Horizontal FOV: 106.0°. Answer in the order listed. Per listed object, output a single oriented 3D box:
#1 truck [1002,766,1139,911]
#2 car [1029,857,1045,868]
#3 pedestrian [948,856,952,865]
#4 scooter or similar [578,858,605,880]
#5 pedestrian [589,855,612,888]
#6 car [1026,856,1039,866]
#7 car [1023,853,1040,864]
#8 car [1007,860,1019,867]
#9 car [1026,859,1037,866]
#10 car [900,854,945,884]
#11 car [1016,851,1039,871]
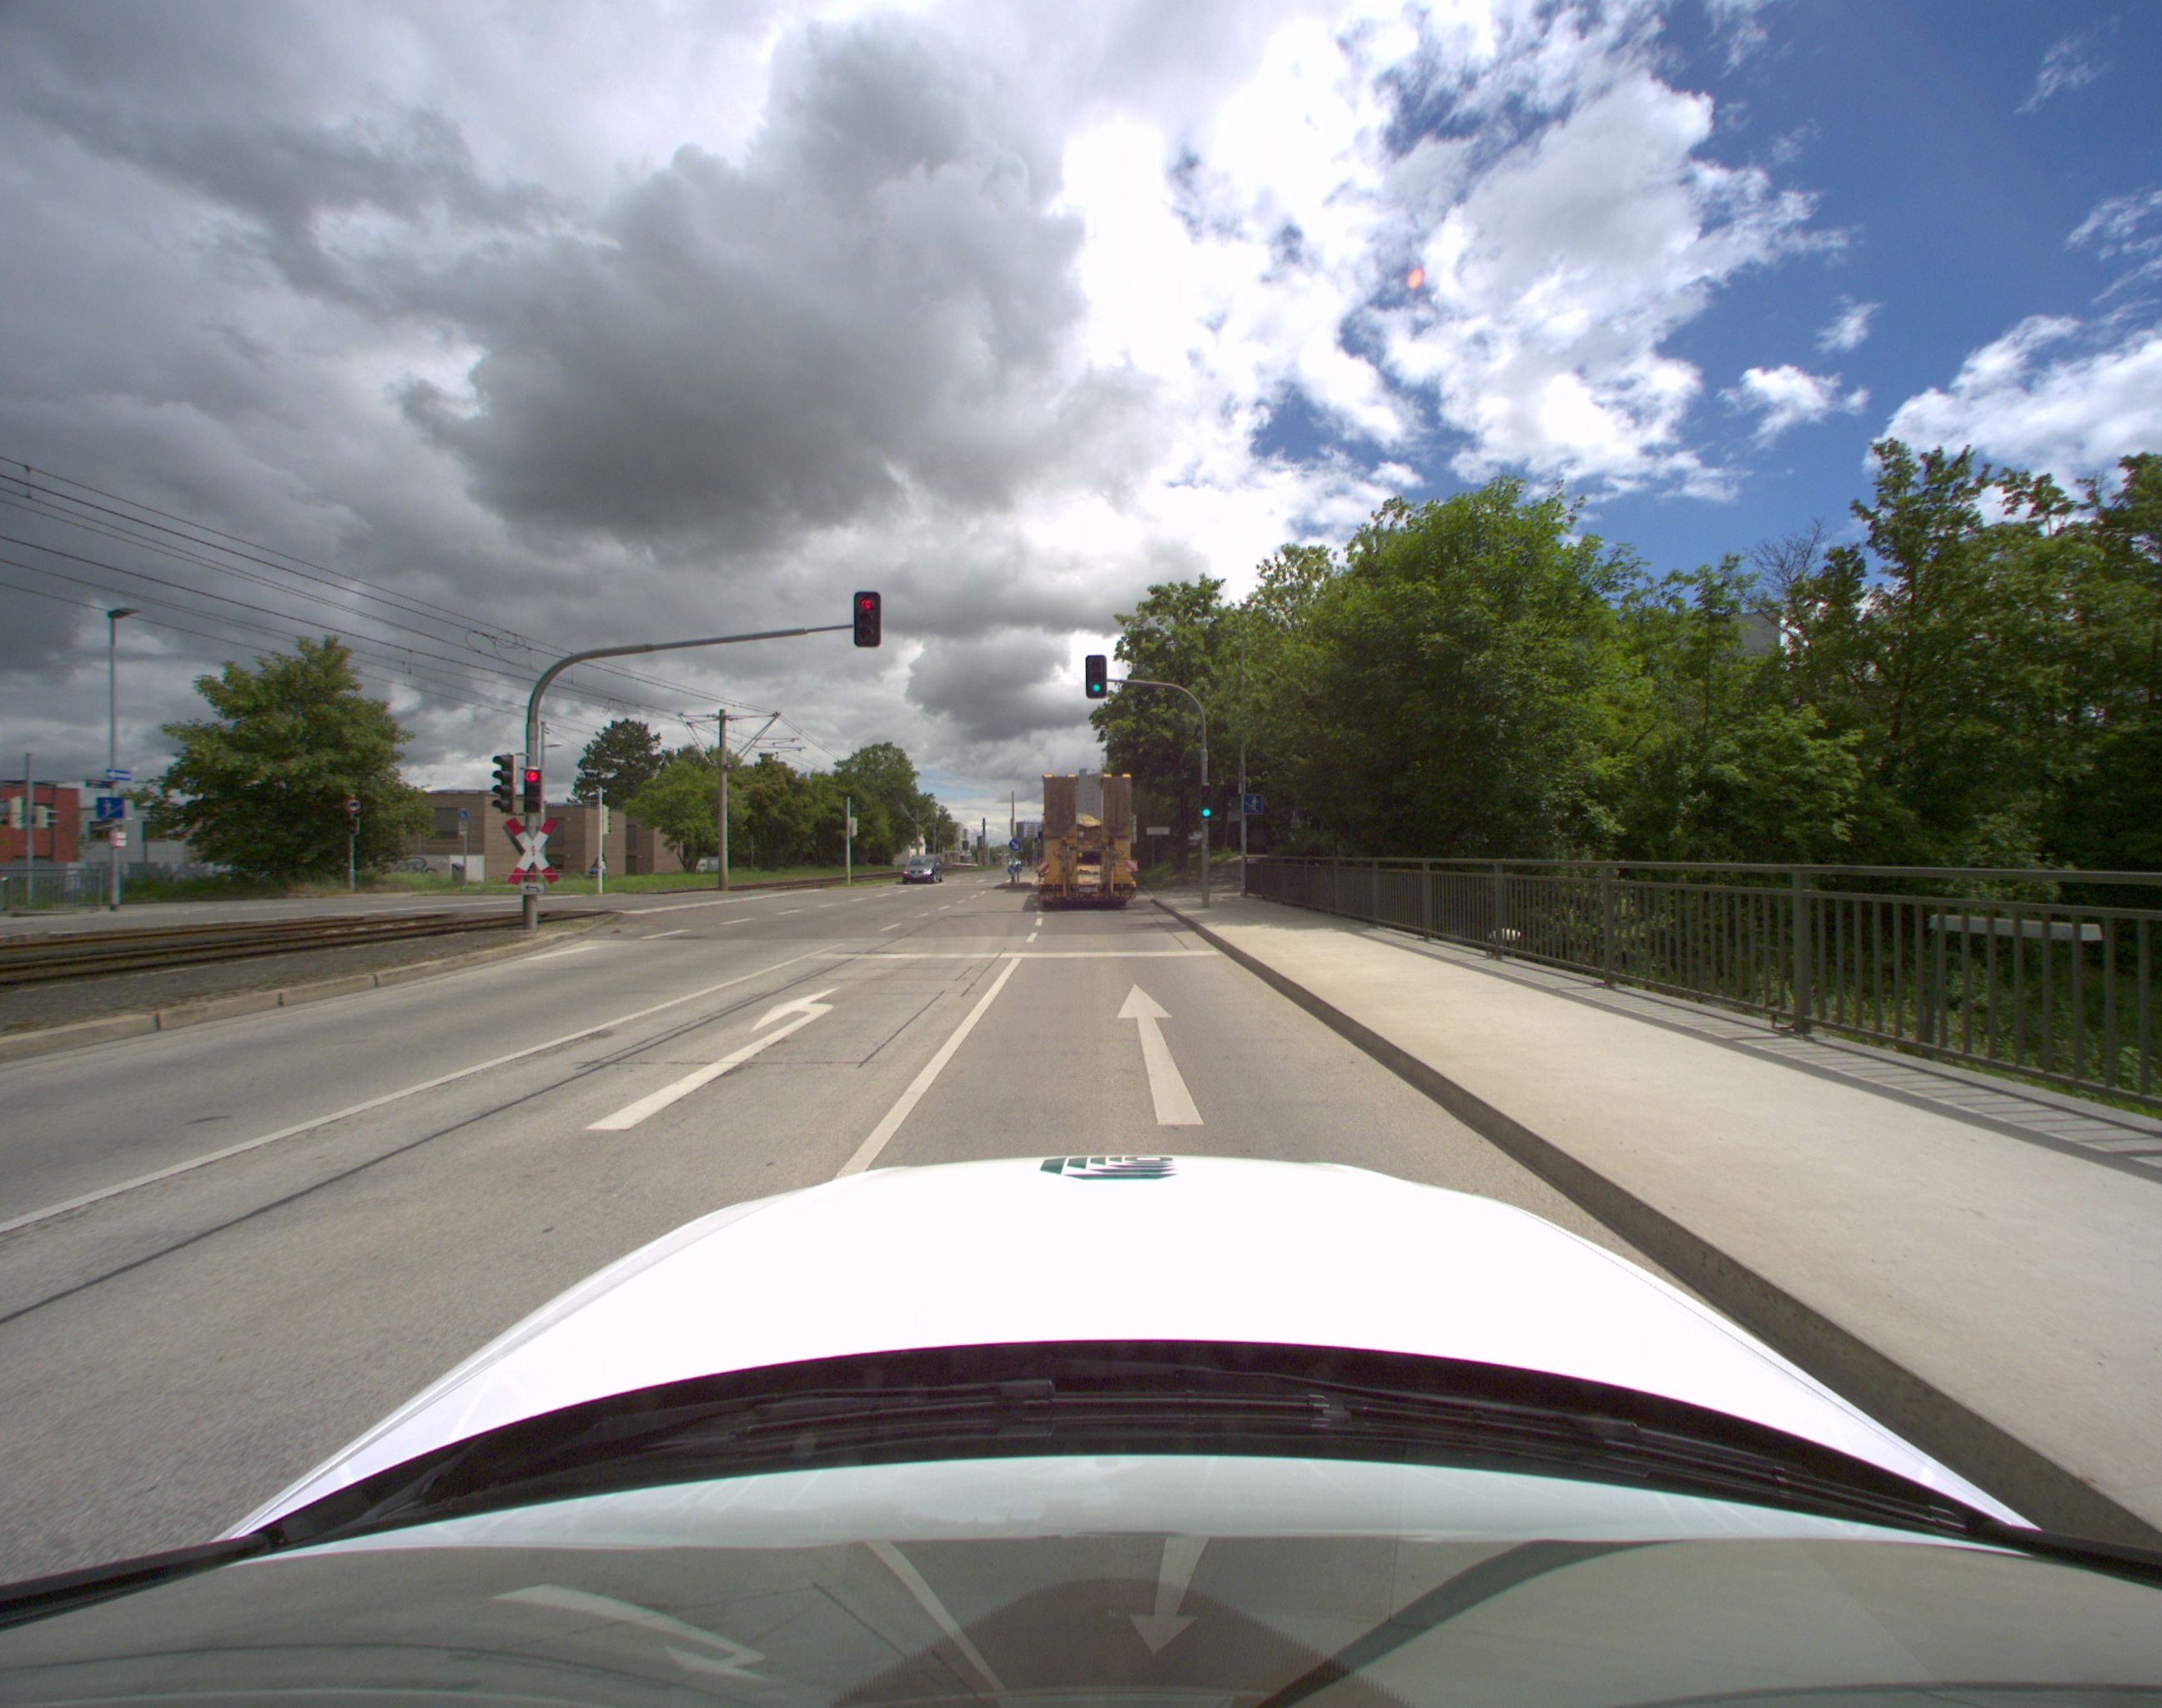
[{"bbox_3d":[0.180,-0.389,27.016,3.301,3.651,12.577,1,0,5],"label":"truck"},{"bbox_3d":[-6.154,1.128,114.017,1.987,1.420,3.999,1,0,-1],"label":"car"},{"bbox_3d":[-29.501,1.361,183.066,0.649,2.013,0.654,1,0,4],"label":"pedestrian"},{"bbox_3d":[-27.529,0.839,45.825,0.887,1.184,0.973,1,0,1],"label":"scooter or similar"},{"bbox_3d":[-27.517,0.996,46.660,0.798,1.811,0.809,1,0,3],"label":"pedestrian"},{"bbox_3d":[-8.243,1.257,138.618,1.987,1.618,3.999,1,0,-1],"label":"car"},{"bbox_3d":[-6.284,0.562,104.022,1.987,1.420,3.999,1,0,-1],"label":"car"},{"bbox_3d":[-12.209,1.677,146.146,1.779,1.271,4.342,-1,0,-1],"label":"car"},{"bbox_3d":[-8.624,1.497,142.867,1.779,1.271,4.342,-1,0,-1],"label":"car"},{"bbox_3d":[-8.875,0.805,45.848,1.779,1.570,4.342,-1,0,-1],"label":"car"},{"bbox_3d":[-5.283,0.658,80.939,1.987,1.926,3.999,1,0,-1],"label":"car"}]
